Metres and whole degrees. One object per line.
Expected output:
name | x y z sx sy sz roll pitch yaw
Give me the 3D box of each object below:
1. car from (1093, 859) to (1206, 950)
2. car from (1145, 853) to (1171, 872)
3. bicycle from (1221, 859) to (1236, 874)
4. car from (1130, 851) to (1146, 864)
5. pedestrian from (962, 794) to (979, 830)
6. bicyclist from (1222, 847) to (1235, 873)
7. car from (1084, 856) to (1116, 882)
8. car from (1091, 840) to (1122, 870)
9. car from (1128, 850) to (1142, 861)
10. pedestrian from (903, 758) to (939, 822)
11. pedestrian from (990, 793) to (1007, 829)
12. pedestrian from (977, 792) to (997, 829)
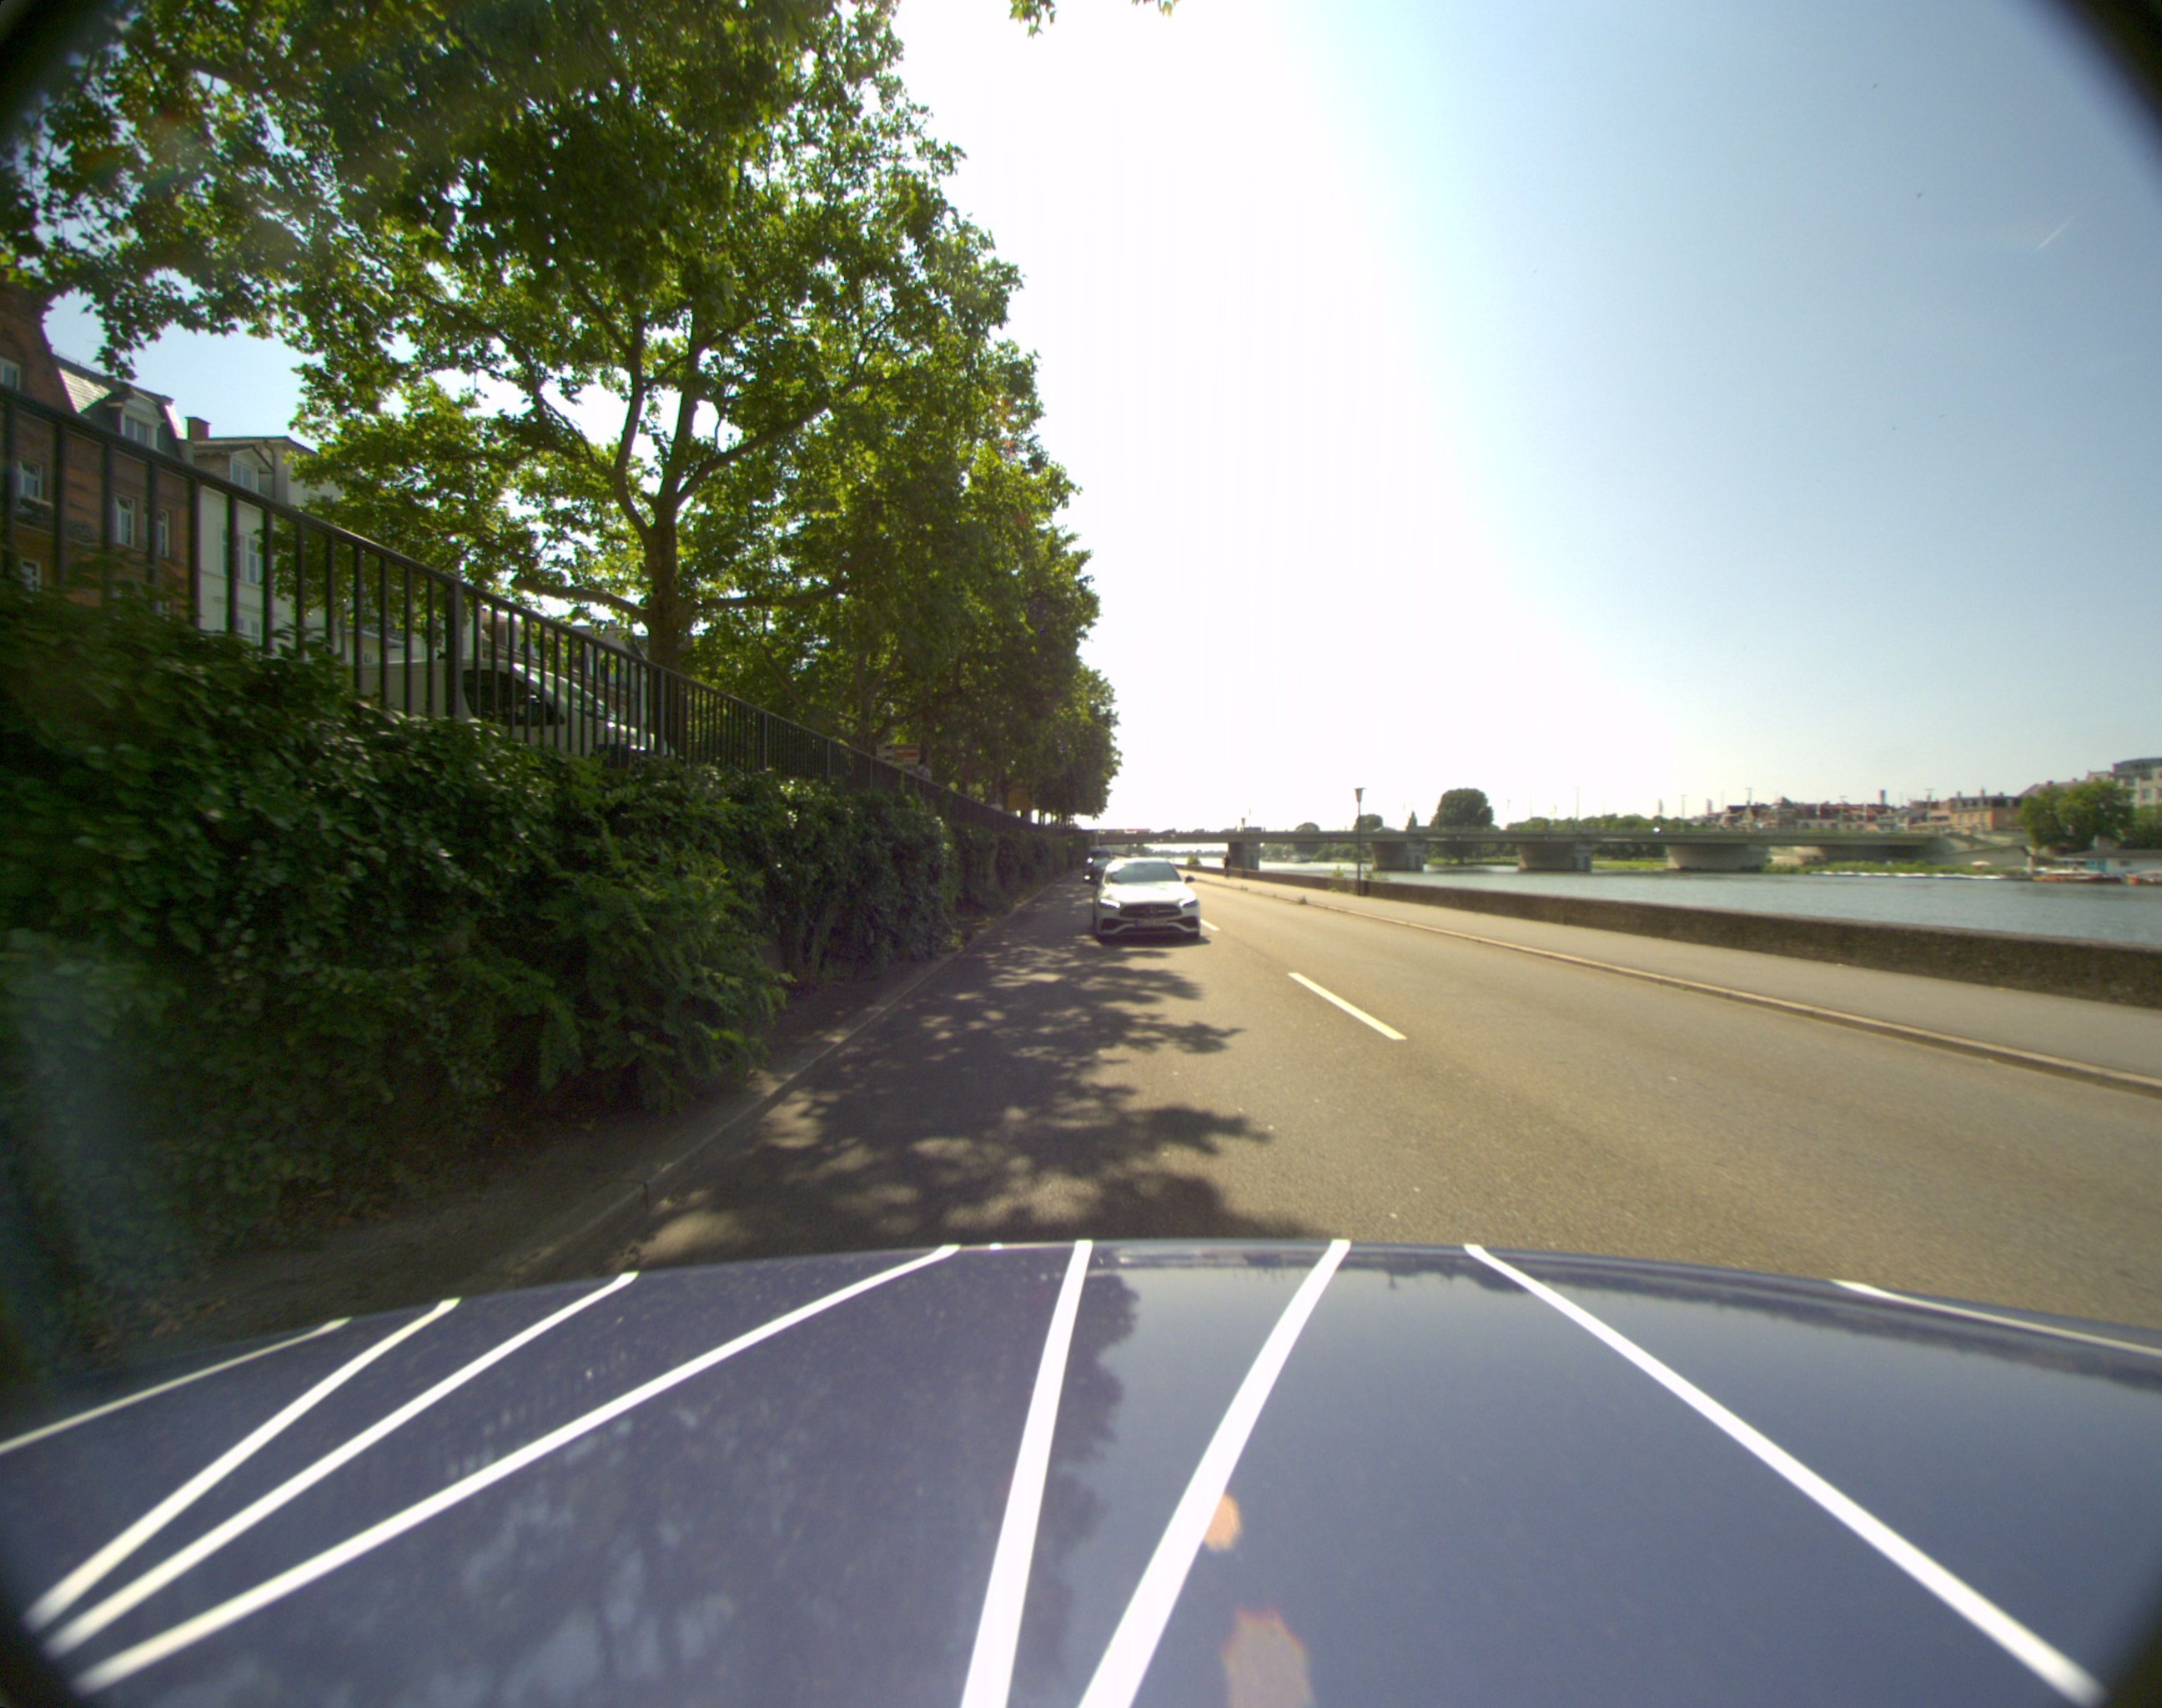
car | 1.159 0.846 14.744 1.830 1.411 4.552 -1 0 1
car | 6.243 0.662 62.085 1.676 1.433 3.901 2 0 0
bicycle | 9.730 0.826 50.106 0.654 0.977 1.944 -1 0 1
car | 6.994 0.398 93.728 1.670 1.482 3.726 1 0 0
pedestrian | -4.888 -1.860 33.618 0.666 1.582 0.650 0 1 0
bicyclist | 9.722 0.392 50.139 0.663 1.692 0.975 -1 1 1
car | 1.088 0.864 44.386 1.756 1.385 4.619 1 0 0
car | 2.037 0.058 63.301 2.351 2.429 6.208 0 1 0
car | 8.082 0.250 113.940 1.733 1.565 4.000 1 0 1
pedestrian | -4.088 -1.623 19.409 0.738 1.582 0.810 0 1 0
pedestrian | -3.672 -1.906 33.923 0.666 1.582 0.764 0 1 0
pedestrian | -4.082 -1.882 32.995 0.738 1.582 0.810 0 1 0
